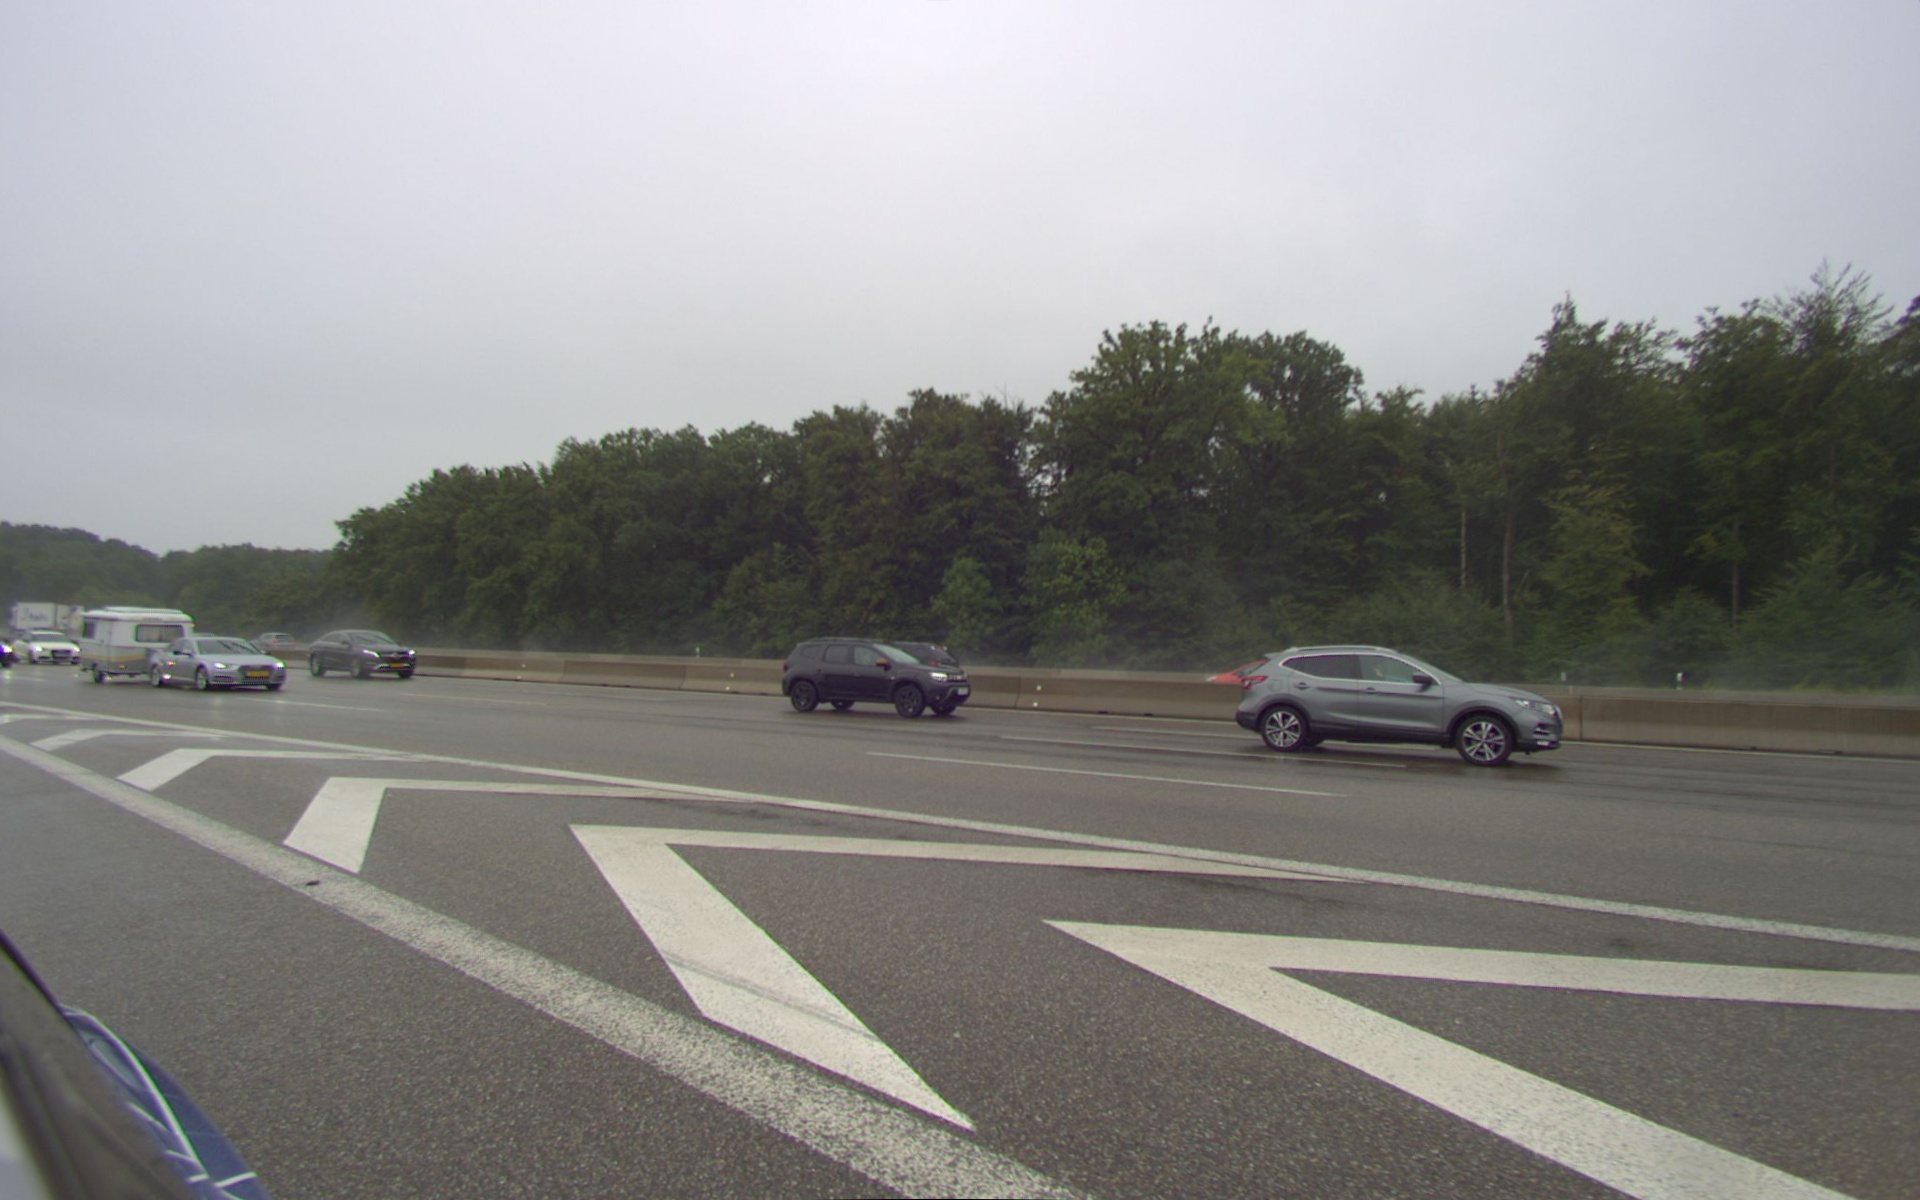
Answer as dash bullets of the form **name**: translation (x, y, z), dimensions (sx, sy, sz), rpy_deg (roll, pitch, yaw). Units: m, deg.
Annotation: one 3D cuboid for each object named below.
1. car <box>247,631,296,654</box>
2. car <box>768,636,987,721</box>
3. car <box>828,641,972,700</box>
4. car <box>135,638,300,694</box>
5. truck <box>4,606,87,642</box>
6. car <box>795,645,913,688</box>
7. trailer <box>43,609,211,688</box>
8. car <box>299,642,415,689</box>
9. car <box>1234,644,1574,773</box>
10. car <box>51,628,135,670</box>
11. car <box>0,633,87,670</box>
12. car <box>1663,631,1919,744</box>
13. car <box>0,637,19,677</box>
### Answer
- **car**: translation (-54.890, 3.358, 80.657), dimensions (3.984, 1.763, 1.673), rpy_deg (-1, -3, 30)
- **car**: translation (-1.828, 1.671, 22.178), dimensions (4.439, 1.676, 1.913), rpy_deg (-1, -4, 29)
- **car**: translation (-1.922, 2.208, 32.188), dimensions (4.195, 1.697, 1.979), rpy_deg (0, -3, 31)
- **car**: translation (-19.690, 1.738, 26.798), dimensions (4.565, 1.358, 1.832), rpy_deg (-1, -5, 31)
- **truck**: translation (-100.362, 2.680, 110.911), dimensions (15.169, 3.693, 3.121), rpy_deg (-1, -3, 34)
- **car**: translation (-4.035, 2.491, 38.405), dimensions (4.322, 1.538, 1.774), rpy_deg (-1, -3, 33)
- **trailer**: translation (-24.724, 1.451, 30.008), dimensions (5.160, 2.172, 2.113), rpy_deg (-1, -5, 31)
- **car**: translation (-22.067, 2.373, 36.982), dimensions (4.509, 1.587, 1.692), rpy_deg (-1, -5, 32)
- **car**: translation (6.351, 1.469, 14.648), dimensions (4.320, 1.586, 1.705), rpy_deg (-1, -4, 32)
- **car**: translation (-43.762, 2.488, 51.067), dimensions (3.984, 2.029, 1.922), rpy_deg (-1, -5, 30)
- **car**: translation (-40.558, 2.261, 44.606), dimensions (4.487, 1.492, 1.865), rpy_deg (-1, -4, 32)
- **car**: translation (16.441, 1.650, 20.021), dimensions (3.985, 2.029, 1.860), rpy_deg (-1, -3, 31)
- **car**: translation (-38.195, 2.135, 38.686), dimensions (4.482, 1.492, 1.867), rpy_deg (-1, -4, 29)
